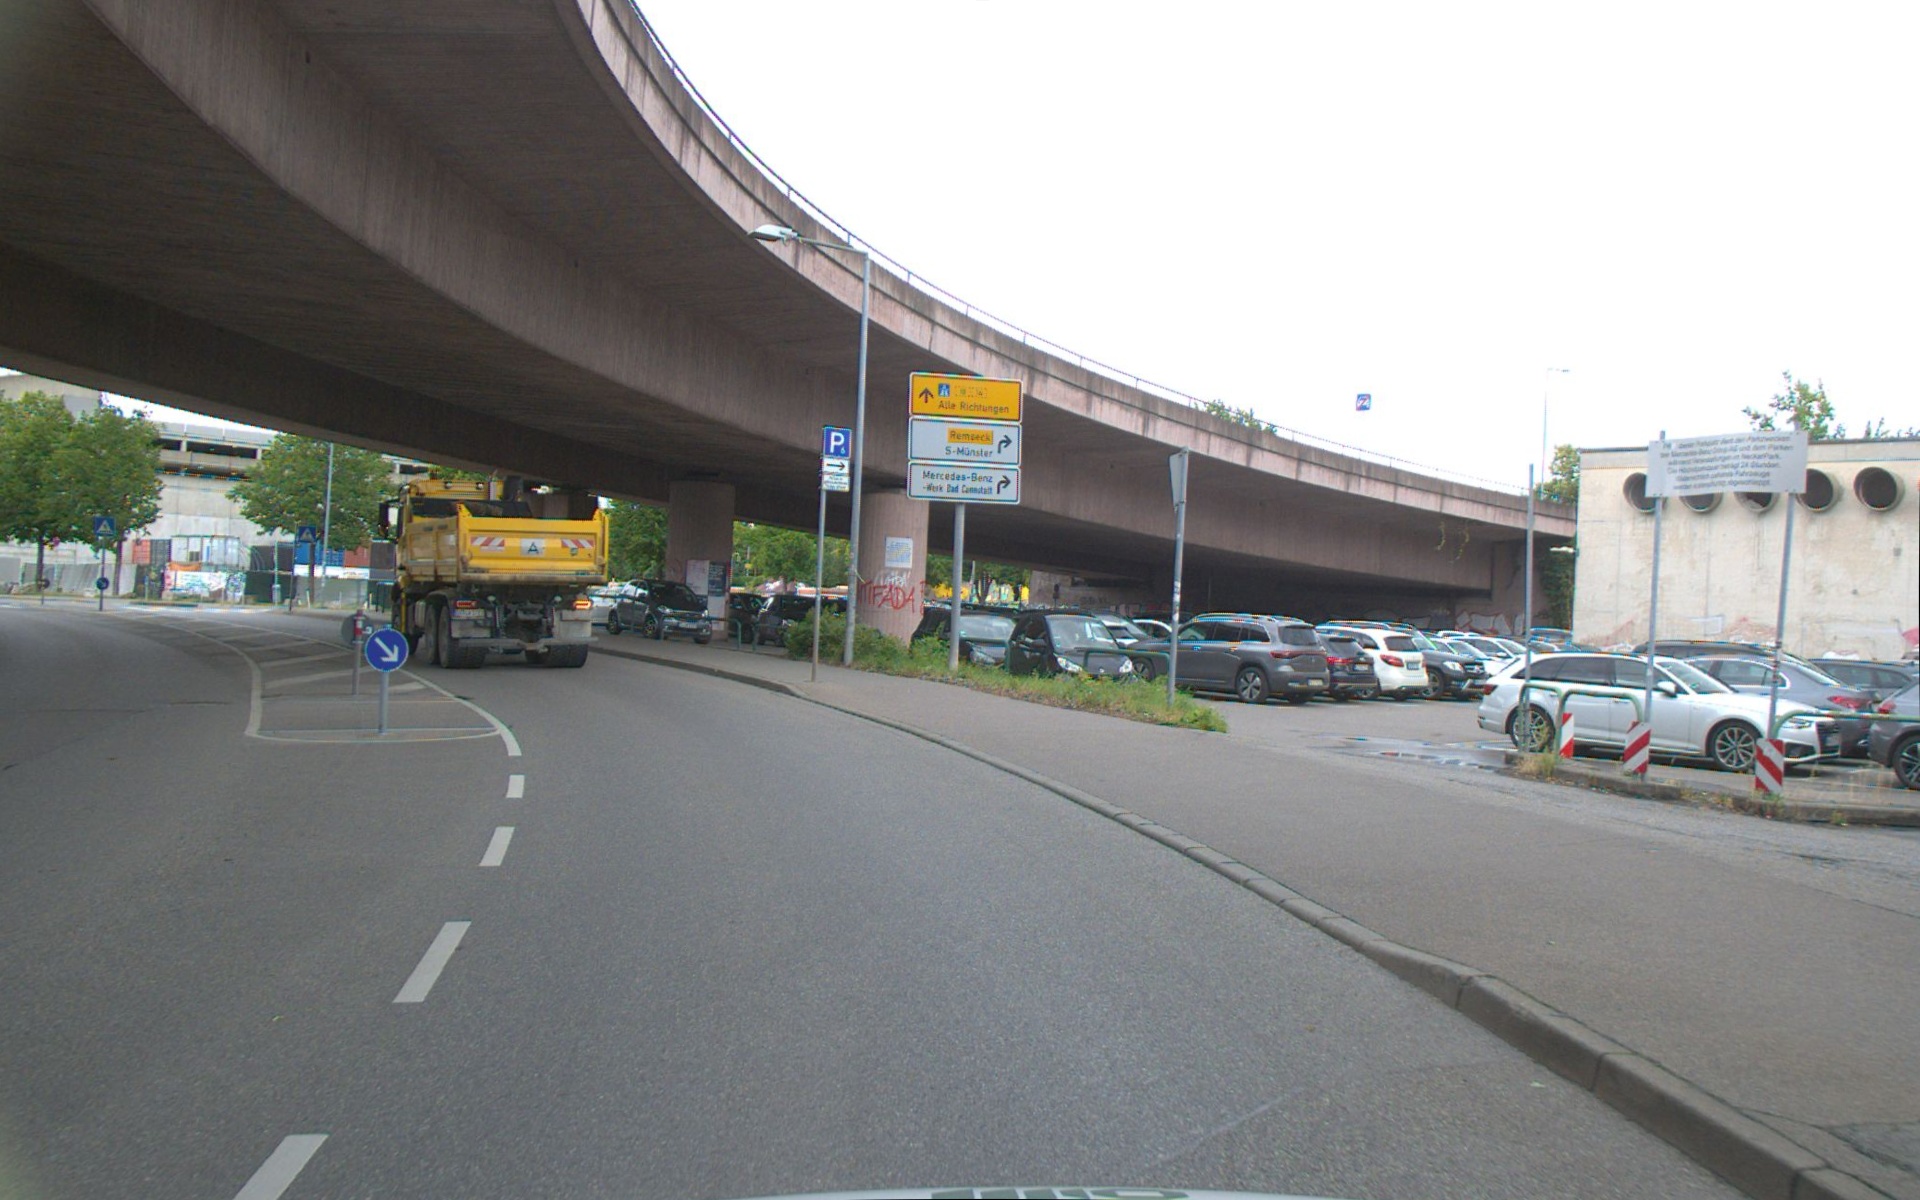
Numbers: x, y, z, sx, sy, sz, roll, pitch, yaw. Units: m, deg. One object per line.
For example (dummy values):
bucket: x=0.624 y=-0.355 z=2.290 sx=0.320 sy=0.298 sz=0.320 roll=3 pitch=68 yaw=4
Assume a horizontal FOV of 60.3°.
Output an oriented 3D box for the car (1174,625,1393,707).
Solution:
car: x=6.882 y=1.383 z=35.538 sx=1.744 sy=1.474 sz=4.386 roll=3 pitch=-1 yaw=-45

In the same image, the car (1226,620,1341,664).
car: x=12.674 y=1.642 z=64.944 sx=1.825 sy=1.491 sz=4.123 roll=3 pitch=-1 yaw=-45

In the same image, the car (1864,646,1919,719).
car: x=22.416 y=1.908 z=36.555 sx=1.756 sy=1.559 sz=3.912 roll=3 pitch=0 yaw=-44

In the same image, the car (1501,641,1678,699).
car: x=17.181 y=1.888 z=45.281 sx=1.696 sy=1.328 sz=4.191 roll=3 pitch=-1 yaw=-45

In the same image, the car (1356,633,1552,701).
car: x=12.045 y=1.618 z=40.523 sx=1.619 sy=1.387 sz=4.334 roll=3 pitch=-1 yaw=-45

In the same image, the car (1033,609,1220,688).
car: x=3.870 y=1.118 z=38.828 sx=1.825 sy=1.620 sz=4.123 roll=3 pitch=-1 yaw=-45

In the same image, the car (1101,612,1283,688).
car: x=5.614 y=1.198 z=40.378 sx=1.825 sy=1.620 sz=4.123 roll=3 pitch=-1 yaw=-45

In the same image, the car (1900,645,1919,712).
car: x=24.433 y=1.944 z=38.210 sx=1.756 sy=1.559 sz=4.416 roll=3 pitch=0 yaw=-44

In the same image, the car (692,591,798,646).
car: x=-6.765 y=0.570 z=51.848 sx=1.519 sy=1.526 sz=3.319 roll=6 pitch=-3 yaw=-45

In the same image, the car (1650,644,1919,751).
car: x=14.298 y=1.593 z=27.898 sx=1.844 sy=1.469 sz=4.546 roll=3 pitch=0 yaw=-44

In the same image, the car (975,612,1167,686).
car: x=2.460 y=1.090 z=37.285 sx=1.825 sy=1.446 sz=4.123 roll=3 pitch=-1 yaw=-45

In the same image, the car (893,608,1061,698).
car: x=0.240 y=0.955 z=31.268 sx=1.705 sy=1.505 sz=4.223 roll=3 pitch=-1 yaw=-21

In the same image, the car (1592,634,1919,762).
car: x=12.672 y=1.483 z=26.299 sx=1.844 sy=1.656 sz=4.546 roll=3 pitch=0 yaw=-44

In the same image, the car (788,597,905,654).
car: x=-3.819 y=0.835 z=55.364 sx=1.825 sy=1.728 sz=3.799 roll=3 pitch=-1 yaw=-45

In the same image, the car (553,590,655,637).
car: x=-13.113 y=0.497 z=60.858 sx=3.940 sy=1.579 sz=1.629 roll=2 pitch=-1 yaw=42

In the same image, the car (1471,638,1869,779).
car: x=9.511 y=1.396 z=22.470 sx=1.842 sy=1.501 sz=4.616 roll=3 pitch=0 yaw=-42

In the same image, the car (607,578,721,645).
car: x=-7.746 y=0.279 z=43.100 sx=1.592 sy=1.560 sz=3.369 roll=5 pitch=-2 yaw=-34

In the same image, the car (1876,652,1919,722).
car: x=21.414 y=1.893 z=34.270 sx=1.756 sy=1.417 sz=3.912 roll=3 pitch=0 yaw=-44

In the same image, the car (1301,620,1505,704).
car: x=10.401 y=1.424 z=39.029 sx=1.744 sy=1.720 sz=4.359 roll=3 pitch=-1 yaw=-45

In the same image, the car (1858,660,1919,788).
car: x=12.874 y=1.539 z=18.759 sx=1.823 sy=1.450 sz=4.374 roll=3 pitch=0 yaw=-42

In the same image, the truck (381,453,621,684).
truck: x=-8.808 y=-0.523 z=31.037 sx=2.727 sy=3.763 sz=7.806 roll=0 pitch=0 yaw=-28

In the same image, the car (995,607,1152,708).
car: x=1.802 y=0.908 z=27.021 sx=1.517 sy=1.505 sz=2.743 roll=3 pitch=-1 yaw=-21

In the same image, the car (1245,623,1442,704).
car: x=8.627 y=1.404 z=37.412 sx=1.744 sy=1.584 sz=4.020 roll=3 pitch=-1 yaw=-45

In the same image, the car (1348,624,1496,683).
car: x=14.516 y=1.677 z=52.137 sx=1.825 sy=1.620 sz=4.123 roll=3 pitch=-1 yaw=-45

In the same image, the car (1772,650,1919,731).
car: x=18.850 y=1.837 z=33.057 sx=1.771 sy=1.417 sz=4.365 roll=3 pitch=0 yaw=-44

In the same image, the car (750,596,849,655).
car: x=-4.664 y=0.738 z=47.630 sx=1.760 sy=1.533 sz=3.833 roll=4 pitch=-2 yaw=-22

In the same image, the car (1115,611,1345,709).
car: x=5.405 y=1.178 z=33.526 sx=1.733 sy=1.704 sz=4.397 roll=3 pitch=-1 yaw=-45

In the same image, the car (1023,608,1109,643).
car: x=5.077 y=1.210 z=79.196 sx=3.789 sy=1.504 sz=1.749 roll=2 pitch=-1 yaw=39

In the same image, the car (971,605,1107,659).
car: x=2.471 y=1.004 z=52.270 sx=1.825 sy=1.491 sz=4.123 roll=3 pitch=-1 yaw=-45

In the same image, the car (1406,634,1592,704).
car: x=13.705 y=1.737 z=42.196 sx=1.696 sy=1.535 sz=4.191 roll=3 pitch=-1 yaw=-45

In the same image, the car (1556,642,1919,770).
car: x=11.414 y=1.486 z=24.356 sx=1.844 sy=1.501 sz=4.611 roll=3 pitch=0 yaw=-44

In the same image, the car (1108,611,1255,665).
car: x=7.961 y=1.366 z=59.763 sx=2.076 sy=1.706 sz=5.023 roll=3 pitch=-1 yaw=-45
